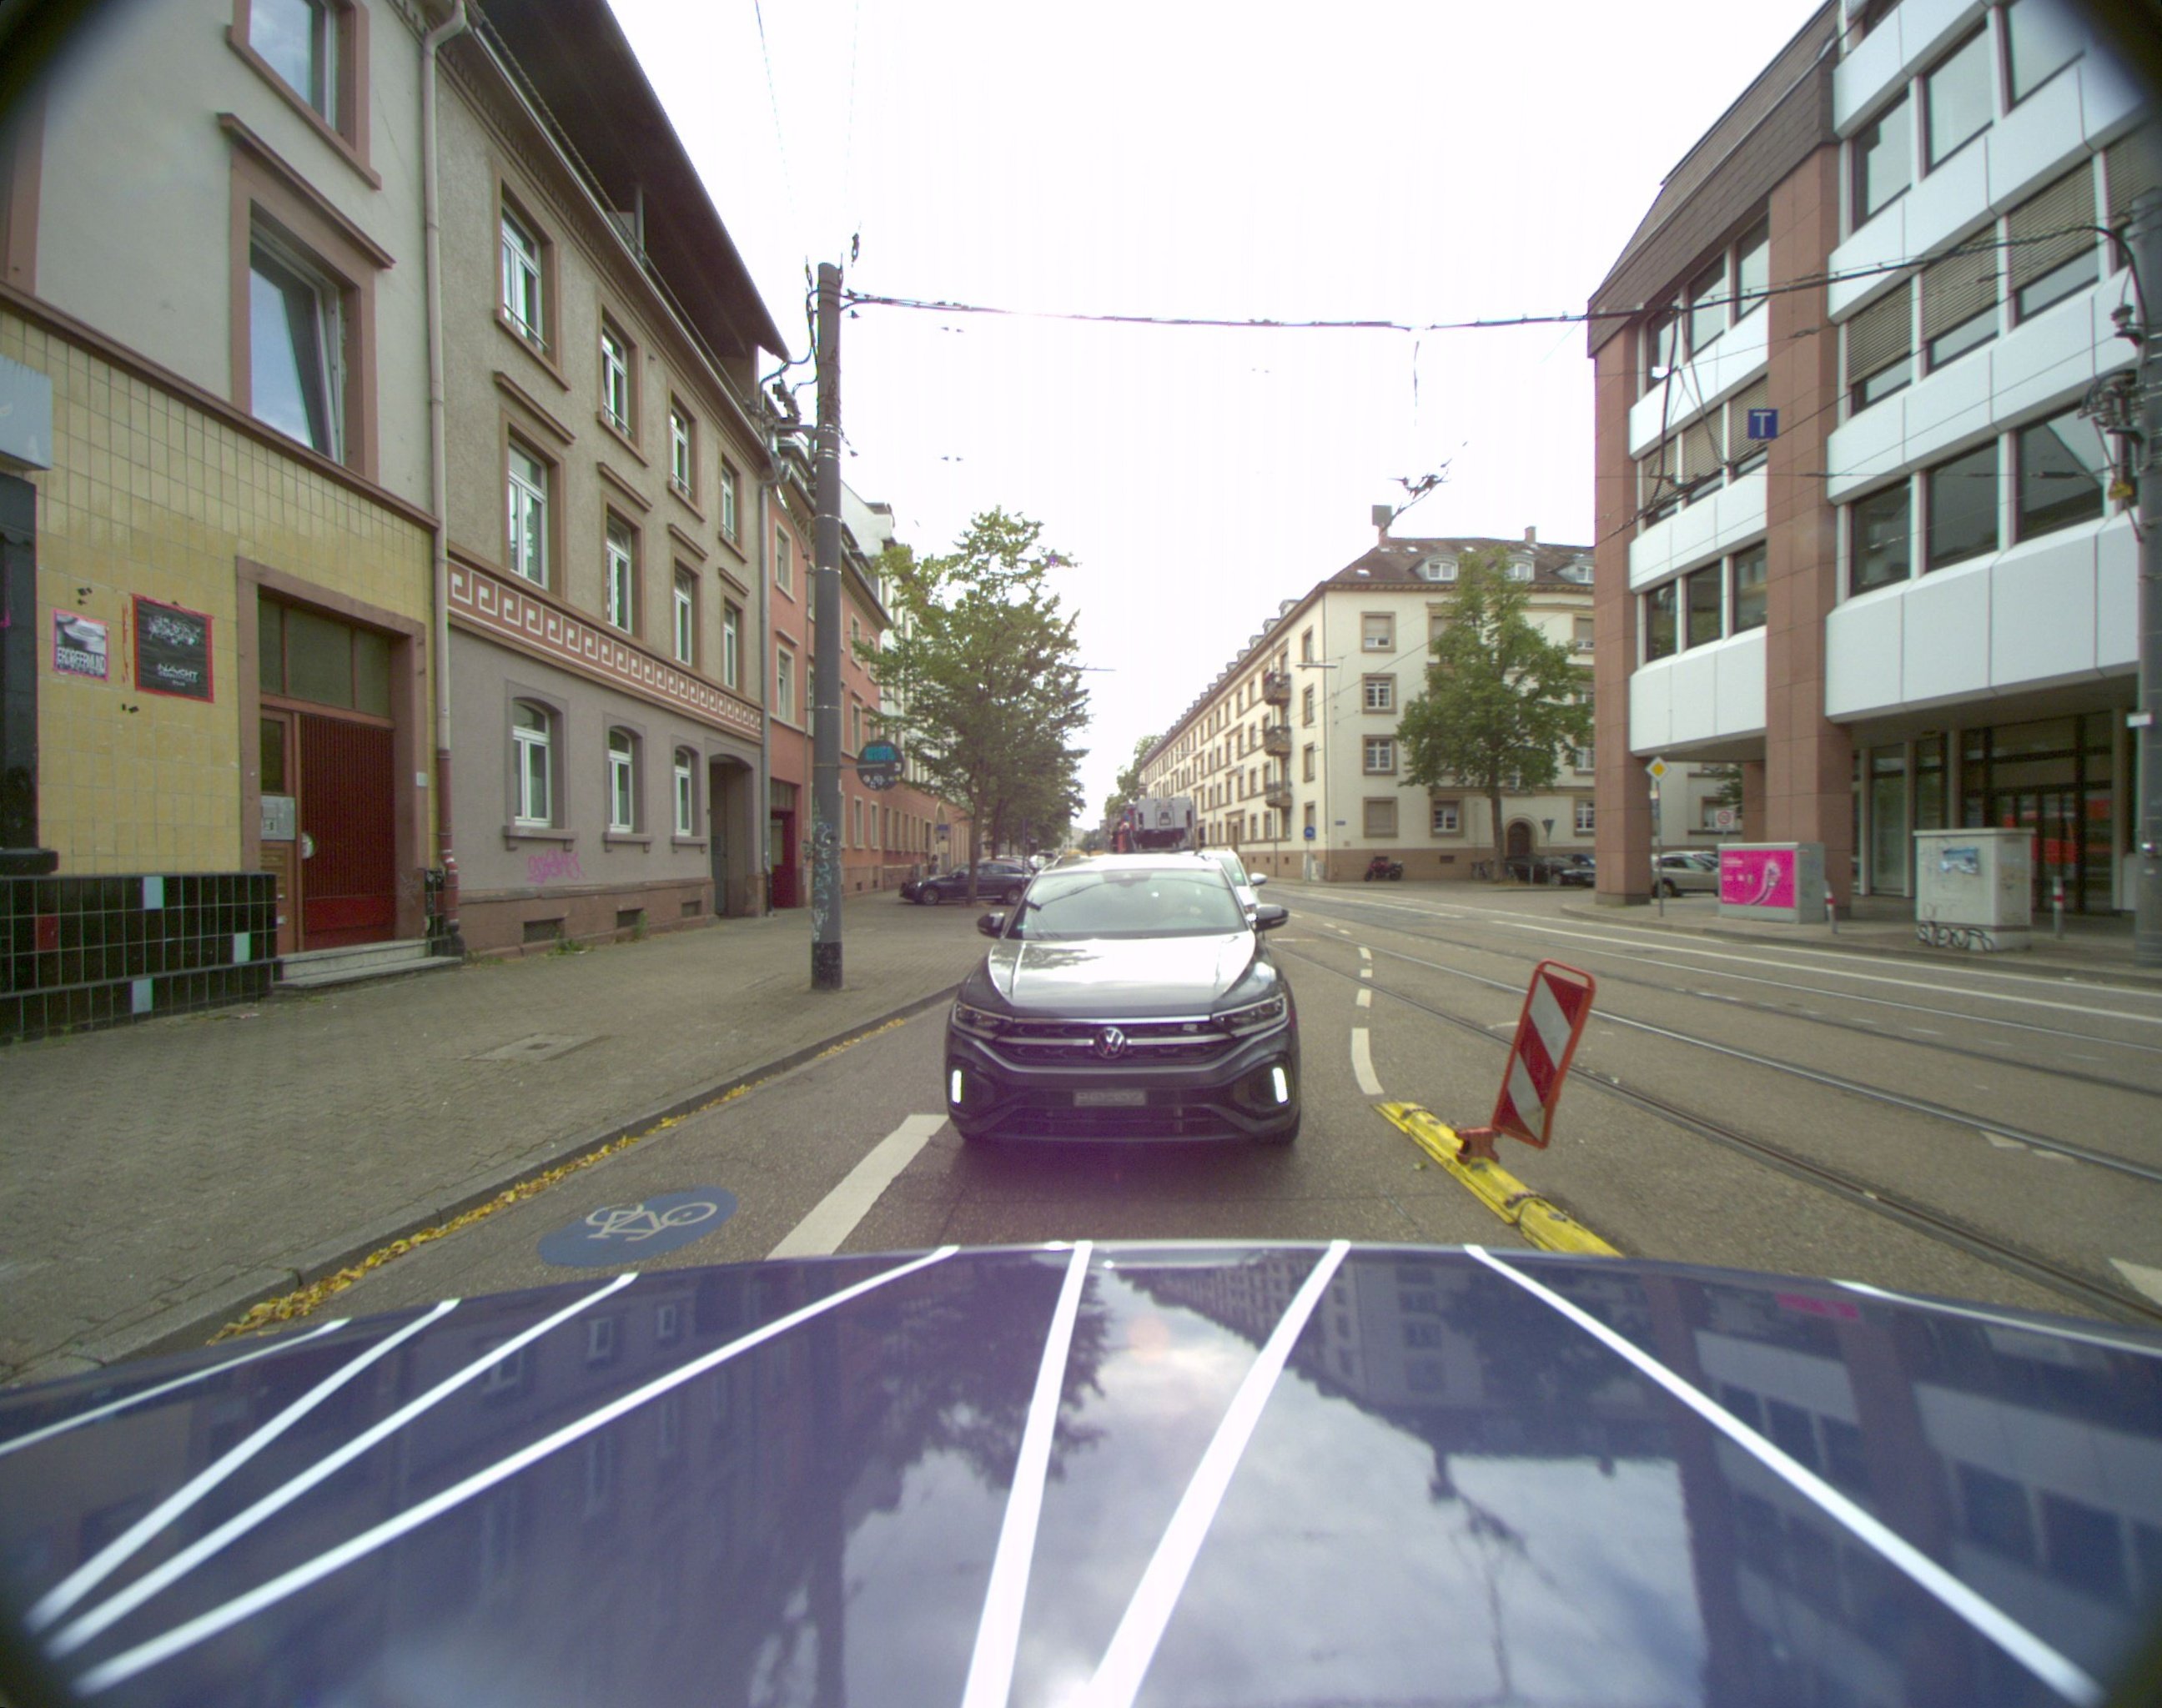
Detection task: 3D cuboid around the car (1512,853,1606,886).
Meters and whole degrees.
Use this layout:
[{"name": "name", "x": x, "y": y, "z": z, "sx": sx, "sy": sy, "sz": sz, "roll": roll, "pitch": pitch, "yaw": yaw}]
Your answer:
[{"name": "car", "x": 21.161, "y": 0.656, "z": 33.830, "sx": 1.611, "sy": 1.388, "sz": 3.874, "roll": -1, "pitch": 0, "yaw": -3}]

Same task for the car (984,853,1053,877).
[{"name": "car", "x": -4.556, "y": 0.784, "z": 55.488, "sx": 4.635, "sy": 1.688, "sz": 1.913, "roll": 1, "pitch": 0, "yaw": -24}]

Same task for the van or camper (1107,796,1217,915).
[{"name": "van or camper", "x": 2.499, "y": 0.047, "z": 26.786, "sx": 2.607, "sy": 3.401, "sz": 9.651, "roll": -1, "pitch": 0, "yaw": -1}]

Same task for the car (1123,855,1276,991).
[{"name": "car", "x": 1.599, "y": 0.839, "z": 11.339, "sx": 1.773, "sy": 1.582, "sz": 4.283, "roll": -2, "pitch": 0, "yaw": 5}]

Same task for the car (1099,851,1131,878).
[{"name": "car", "x": 2.180, "y": 0.675, "z": 49.768, "sx": 1.998, "sy": 1.698, "sz": 4.053, "roll": -1, "pitch": 0, "yaw": 1}]

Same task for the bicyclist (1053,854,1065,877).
[{"name": "bicyclist", "x": -1.478, "y": 0.780, "z": 50.629, "sx": 0.715, "sy": 1.498, "sz": 0.918, "roll": -2, "pitch": 0, "yaw": -1}]

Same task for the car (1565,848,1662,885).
[{"name": "car", "x": 23.561, "y": 0.522, "z": 33.793, "sx": 1.611, "sy": 1.538, "sz": 3.715, "roll": -1, "pitch": 0, "yaw": -3}]

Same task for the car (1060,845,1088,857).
[{"name": "car", "x": -1.329, "y": -0.454, "z": 140.193, "sx": 2.553, "sy": 2.142, "sz": 5.915, "roll": -1, "pitch": 0, "yaw": -28}]

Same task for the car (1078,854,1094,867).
[{"name": "car", "x": 0.597, "y": 0.781, "z": 94.239, "sx": 1.911, "sy": 1.478, "sz": 4.000, "roll": -1, "pitch": 0, "yaw": 1}]

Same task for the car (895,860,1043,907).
[{"name": "car", "x": -3.787, "y": 0.958, "z": 25.703, "sx": 4.635, "sy": 1.464, "sz": 1.786, "roll": 1, "pitch": 0, "yaw": -24}]

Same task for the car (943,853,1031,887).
[{"name": "car", "x": -4.944, "y": 0.836, "z": 39.912, "sx": 4.245, "sy": 1.688, "sz": 1.736, "roll": 1, "pitch": 0, "yaw": -24}]

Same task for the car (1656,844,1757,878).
[{"name": "car", "x": 28.487, "y": 0.298, "z": 34.739, "sx": 1.592, "sy": 1.453, "sz": 3.524, "roll": -1, "pitch": 0, "yaw": -3}]

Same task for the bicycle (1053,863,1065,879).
[{"name": "bicycle", "x": -1.467, "y": 1.133, "z": 50.669, "sx": 0.714, "sy": 1.012, "sz": 1.800, "roll": -2, "pitch": 0, "yaw": -1}]

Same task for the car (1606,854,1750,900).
[{"name": "car", "x": 19.183, "y": 0.706, "z": 24.454, "sx": 3.650, "sy": 1.380, "sz": 1.611, "roll": -1, "pitch": 0, "yaw": -9}]

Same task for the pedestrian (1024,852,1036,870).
[{"name": "pedestrian", "x": -5.247, "y": 0.699, "z": 78.404, "sx": 1.002, "sy": 1.831, "sz": 1.018, "roll": -1, "pitch": 1, "yaw": -17}]

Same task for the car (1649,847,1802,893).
[{"name": "car", "x": 24.132, "y": 0.593, "z": 28.600, "sx": 4.043, "sy": 1.528, "sz": 1.776, "roll": -2, "pitch": 0, "yaw": 9}]

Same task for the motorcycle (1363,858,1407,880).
[{"name": "motorcycle", "x": 15.295, "y": 0.766, "z": 38.269, "sx": 1.924, "sy": 1.080, "sz": 0.793, "roll": -1, "pitch": 0, "yaw": -1}]

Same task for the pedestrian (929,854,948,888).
[{"name": "pedestrian", "x": -7.321, "y": 0.855, "z": 39.101, "sx": 0.732, "sy": 1.678, "sz": 0.926, "roll": 3, "pitch": 0, "yaw": -1}]

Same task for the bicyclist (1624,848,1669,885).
[{"name": "bicyclist", "x": 22.465, "y": 0.491, "z": 30.193, "sx": 1.258, "sy": 1.453, "sz": 0.678, "roll": -1, "pitch": 0, "yaw": 6}]

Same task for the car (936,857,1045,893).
[{"name": "car", "x": -3.900, "y": 0.895, "z": 32.776, "sx": 4.351, "sy": 1.471, "sz": 1.786, "roll": 1, "pitch": 0, "yaw": -24}]

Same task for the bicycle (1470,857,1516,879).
[{"name": "bicycle", "x": 20.866, "y": 0.726, "z": 38.487, "sx": 1.924, "sy": 1.080, "sz": 0.793, "roll": -1, "pitch": 0, "yaw": -1}]

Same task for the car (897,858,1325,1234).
[{"name": "car", "x": 0.282, "y": 0.848, "z": 5.374, "sx": 1.773, "sy": 1.538, "sz": 4.283, "roll": -2, "pitch": 0, "yaw": 5}]
